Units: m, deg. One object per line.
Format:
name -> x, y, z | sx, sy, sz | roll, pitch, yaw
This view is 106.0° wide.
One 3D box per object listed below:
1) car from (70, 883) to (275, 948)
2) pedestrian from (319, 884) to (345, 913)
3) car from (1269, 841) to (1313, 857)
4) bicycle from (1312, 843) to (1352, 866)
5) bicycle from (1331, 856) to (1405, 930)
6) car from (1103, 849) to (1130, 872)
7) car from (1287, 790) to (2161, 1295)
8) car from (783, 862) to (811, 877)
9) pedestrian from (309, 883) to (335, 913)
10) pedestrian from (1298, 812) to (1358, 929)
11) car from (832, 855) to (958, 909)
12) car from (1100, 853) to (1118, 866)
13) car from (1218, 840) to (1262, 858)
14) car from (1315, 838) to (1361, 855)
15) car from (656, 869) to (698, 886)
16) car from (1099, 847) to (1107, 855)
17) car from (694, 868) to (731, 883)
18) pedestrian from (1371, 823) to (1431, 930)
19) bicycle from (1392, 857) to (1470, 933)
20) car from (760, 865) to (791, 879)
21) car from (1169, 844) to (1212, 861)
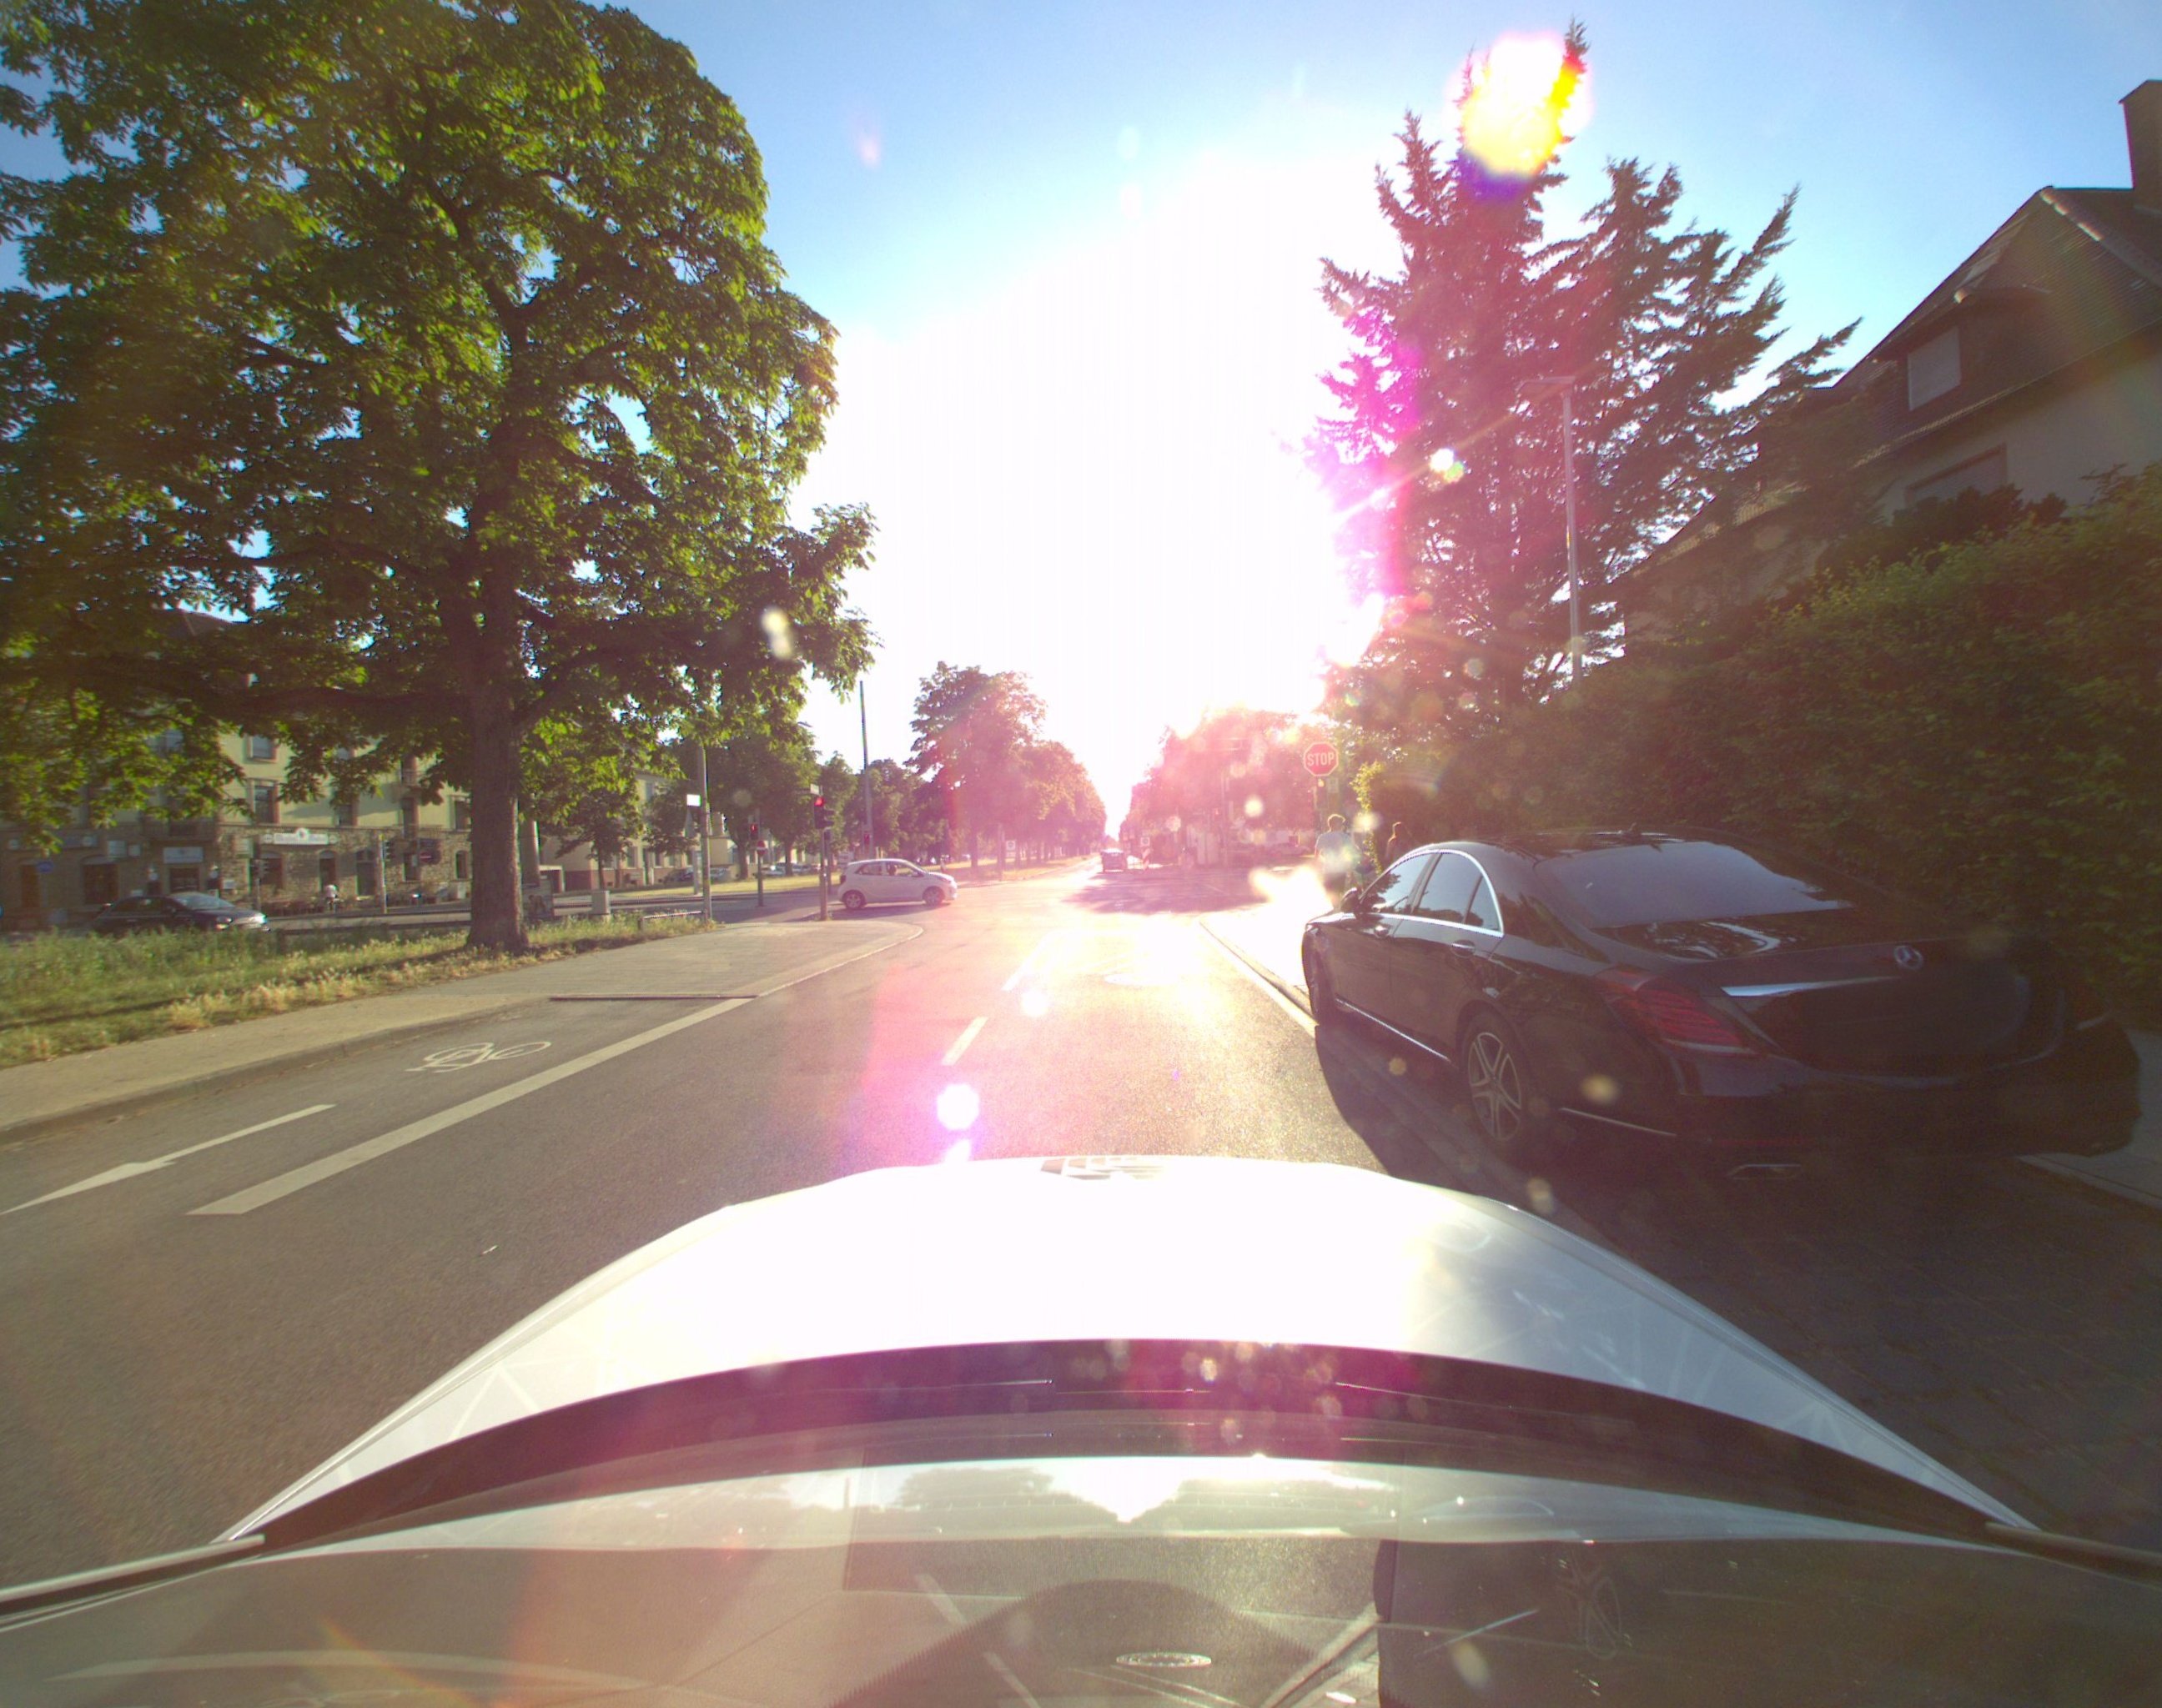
car -> -25.095, 1.664, 22.609 | 3.591, 1.497, 1.609 | -2, 1, -6
pedestrian -> -43.394, 2.565, 47.184 | 0.808, 1.642, 0.728 | -2, 0, 10
car -> 19.627, -0.465, 76.165 | 3.653, 1.427, 1.531 | -2, 0, -2
bicycle -> 13.587, 0.033, 44.038 | 1.945, 1.132, 0.620 | -2, 0, 4
bicycle -> 4.673, 0.601, 13.358 | 0.486, 1.097, 1.789 | -2, 0, -2
car -> 2.452, 0.428, 55.824 | 1.633, 1.451, 3.312 | -2, 0, 5
car -> 2.806, 0.590, 5.035 | 1.852, 1.542, 4.874 | -2, 0, 1
car -> -33.341, 1.819, 95.573 | 1.730, 1.427, 3.796 | -2, 2, 3
pedestrian -> -43.189, 2.480, 46.338 | 0.724, 1.642, 0.812 | -2, 0, -11
pedestrian -> 4.105, 0.268, 13.571 | 0.668, 1.865, 0.881 | -2, 0, -2
car -> -5.725, 0.840, 25.444 | 3.685, 1.488, 1.736 | -2, 0, -9
car -> 3.058, 0.578, 89.841 | 1.837, 1.393, 3.832 | -2, 0, 3
car -> 14.921, -0.472, 76.528 | 3.765, 1.525, 1.745 | -2, 1, 2
car -> 24.159, -0.716, 76.647 | 3.835, 1.427, 1.596 | -2, 0, -2
car -> -39.796, 2.313, 80.360 | 1.728, 1.397, 3.802 | -2, 2, 9
car -> 6.116, -0.822, 223.823 | 2.125, 2.013, 3.905 | -2, 0, 3
car -> -39.291, 2.276, 86.880 | 1.728, 1.427, 3.802 | -2, 0, 9
pedestrian -> 5.253, 0.362, 13.396 | 0.668, 1.708, 0.622 | -2, 0, -4
bicycle -> 5.708, 0.630, 13.371 | 0.486, 1.143, 1.596 | -2, 0, -3
car -> -33.494, 1.957, 89.426 | 1.731, 1.427, 3.795 | -2, 0, 3
car -> 10.260, -0.156, 76.500 | 3.765, 1.427, 1.745 | -2, 1, 2
